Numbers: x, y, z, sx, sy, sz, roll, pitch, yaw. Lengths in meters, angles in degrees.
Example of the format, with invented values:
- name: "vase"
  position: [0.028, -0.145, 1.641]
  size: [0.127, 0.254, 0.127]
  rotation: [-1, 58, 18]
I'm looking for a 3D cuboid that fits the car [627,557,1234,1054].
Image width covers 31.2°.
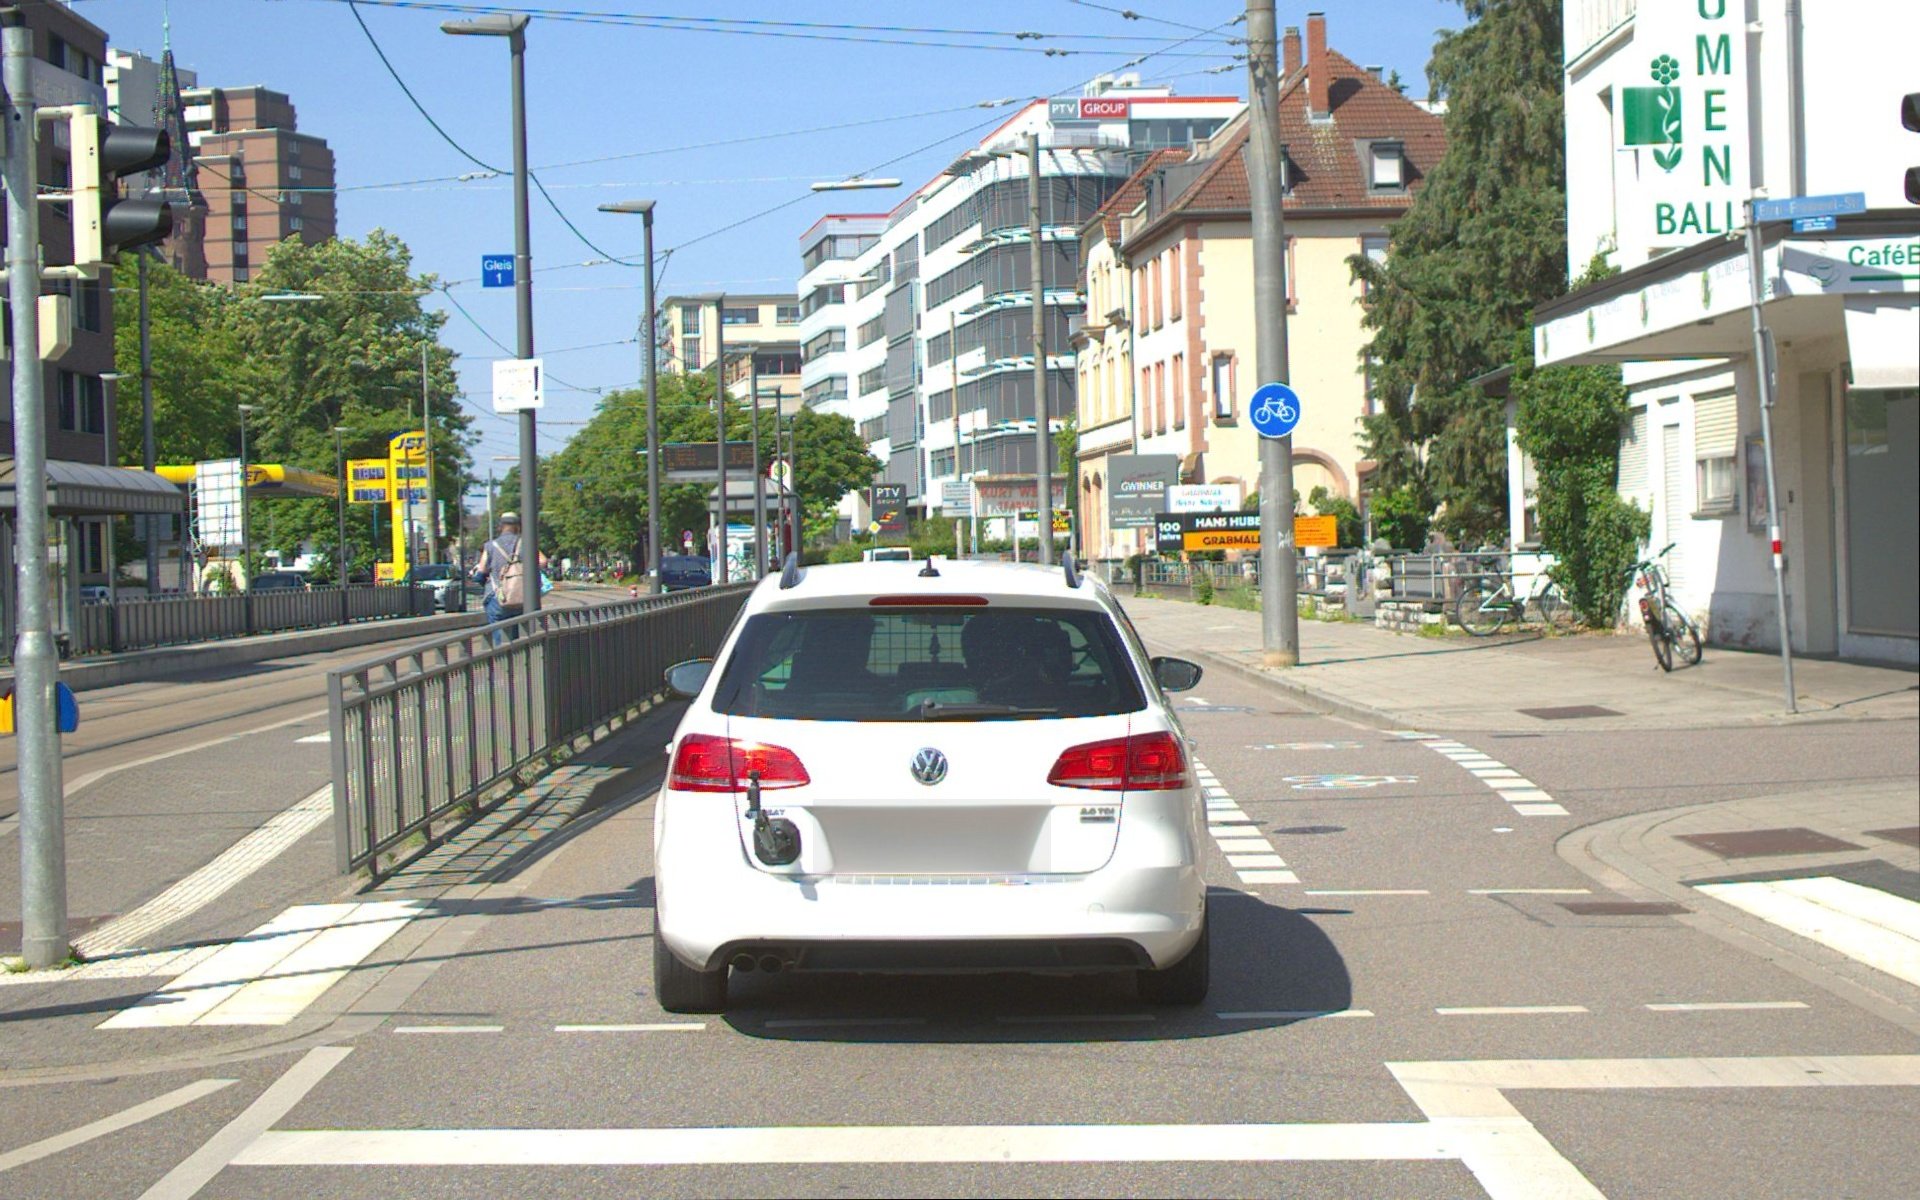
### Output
- name: "car"
  position: [-0.101, 0.574, 11.906]
  size: [1.752, 1.413, 3.853]
  rotation: [0, 1, 0]

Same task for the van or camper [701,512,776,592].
- name: "van or camper"
  position: [-9.381, -2.033, 145.002]
  size: [2.943, 3.169, 6.614]
  rotation: [-2, 1, -4]

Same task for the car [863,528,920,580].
- name: "car"
  position: [-2.796, -1.881, 139.828]
  size: [1.993, 2.007, 4.001]
  rotation: [-2, 1, -5]

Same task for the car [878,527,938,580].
- name: "car"
  position: [-2.036, -1.824, 134.412]
  size: [1.993, 2.007, 4.001]
  rotation: [-2, 1, -5]

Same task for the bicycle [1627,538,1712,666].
- name: "bicycle"
  position: [6.707, 0.001, 32.500]
  size: [0.726, 1.135, 2.194]
  rotation: [-2, 1, 12]

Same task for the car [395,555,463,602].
- name: "car"
  position: [-17.496, -0.717, 113.446]
  size: [1.667, 1.461, 3.773]
  rotation: [-2, 1, -1]

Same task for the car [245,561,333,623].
- name: "car"
  position: [-16.998, -0.223, 87.167]
  size: [1.572, 1.454, 3.738]
  rotation: [-2, 1, -2]

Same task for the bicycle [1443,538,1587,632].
- name: "bicycle"
  position: [7.059, -0.193, 43.776]
  size: [1.712, 1.126, 0.525]
  rotation: [-2, 1, 1]

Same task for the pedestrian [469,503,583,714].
- name: "pedestrian"
  position: [-3.800, 0.067, 30.152]
  size: [0.826, 1.803, 0.833]
  rotation: [-2, 1, 0]
